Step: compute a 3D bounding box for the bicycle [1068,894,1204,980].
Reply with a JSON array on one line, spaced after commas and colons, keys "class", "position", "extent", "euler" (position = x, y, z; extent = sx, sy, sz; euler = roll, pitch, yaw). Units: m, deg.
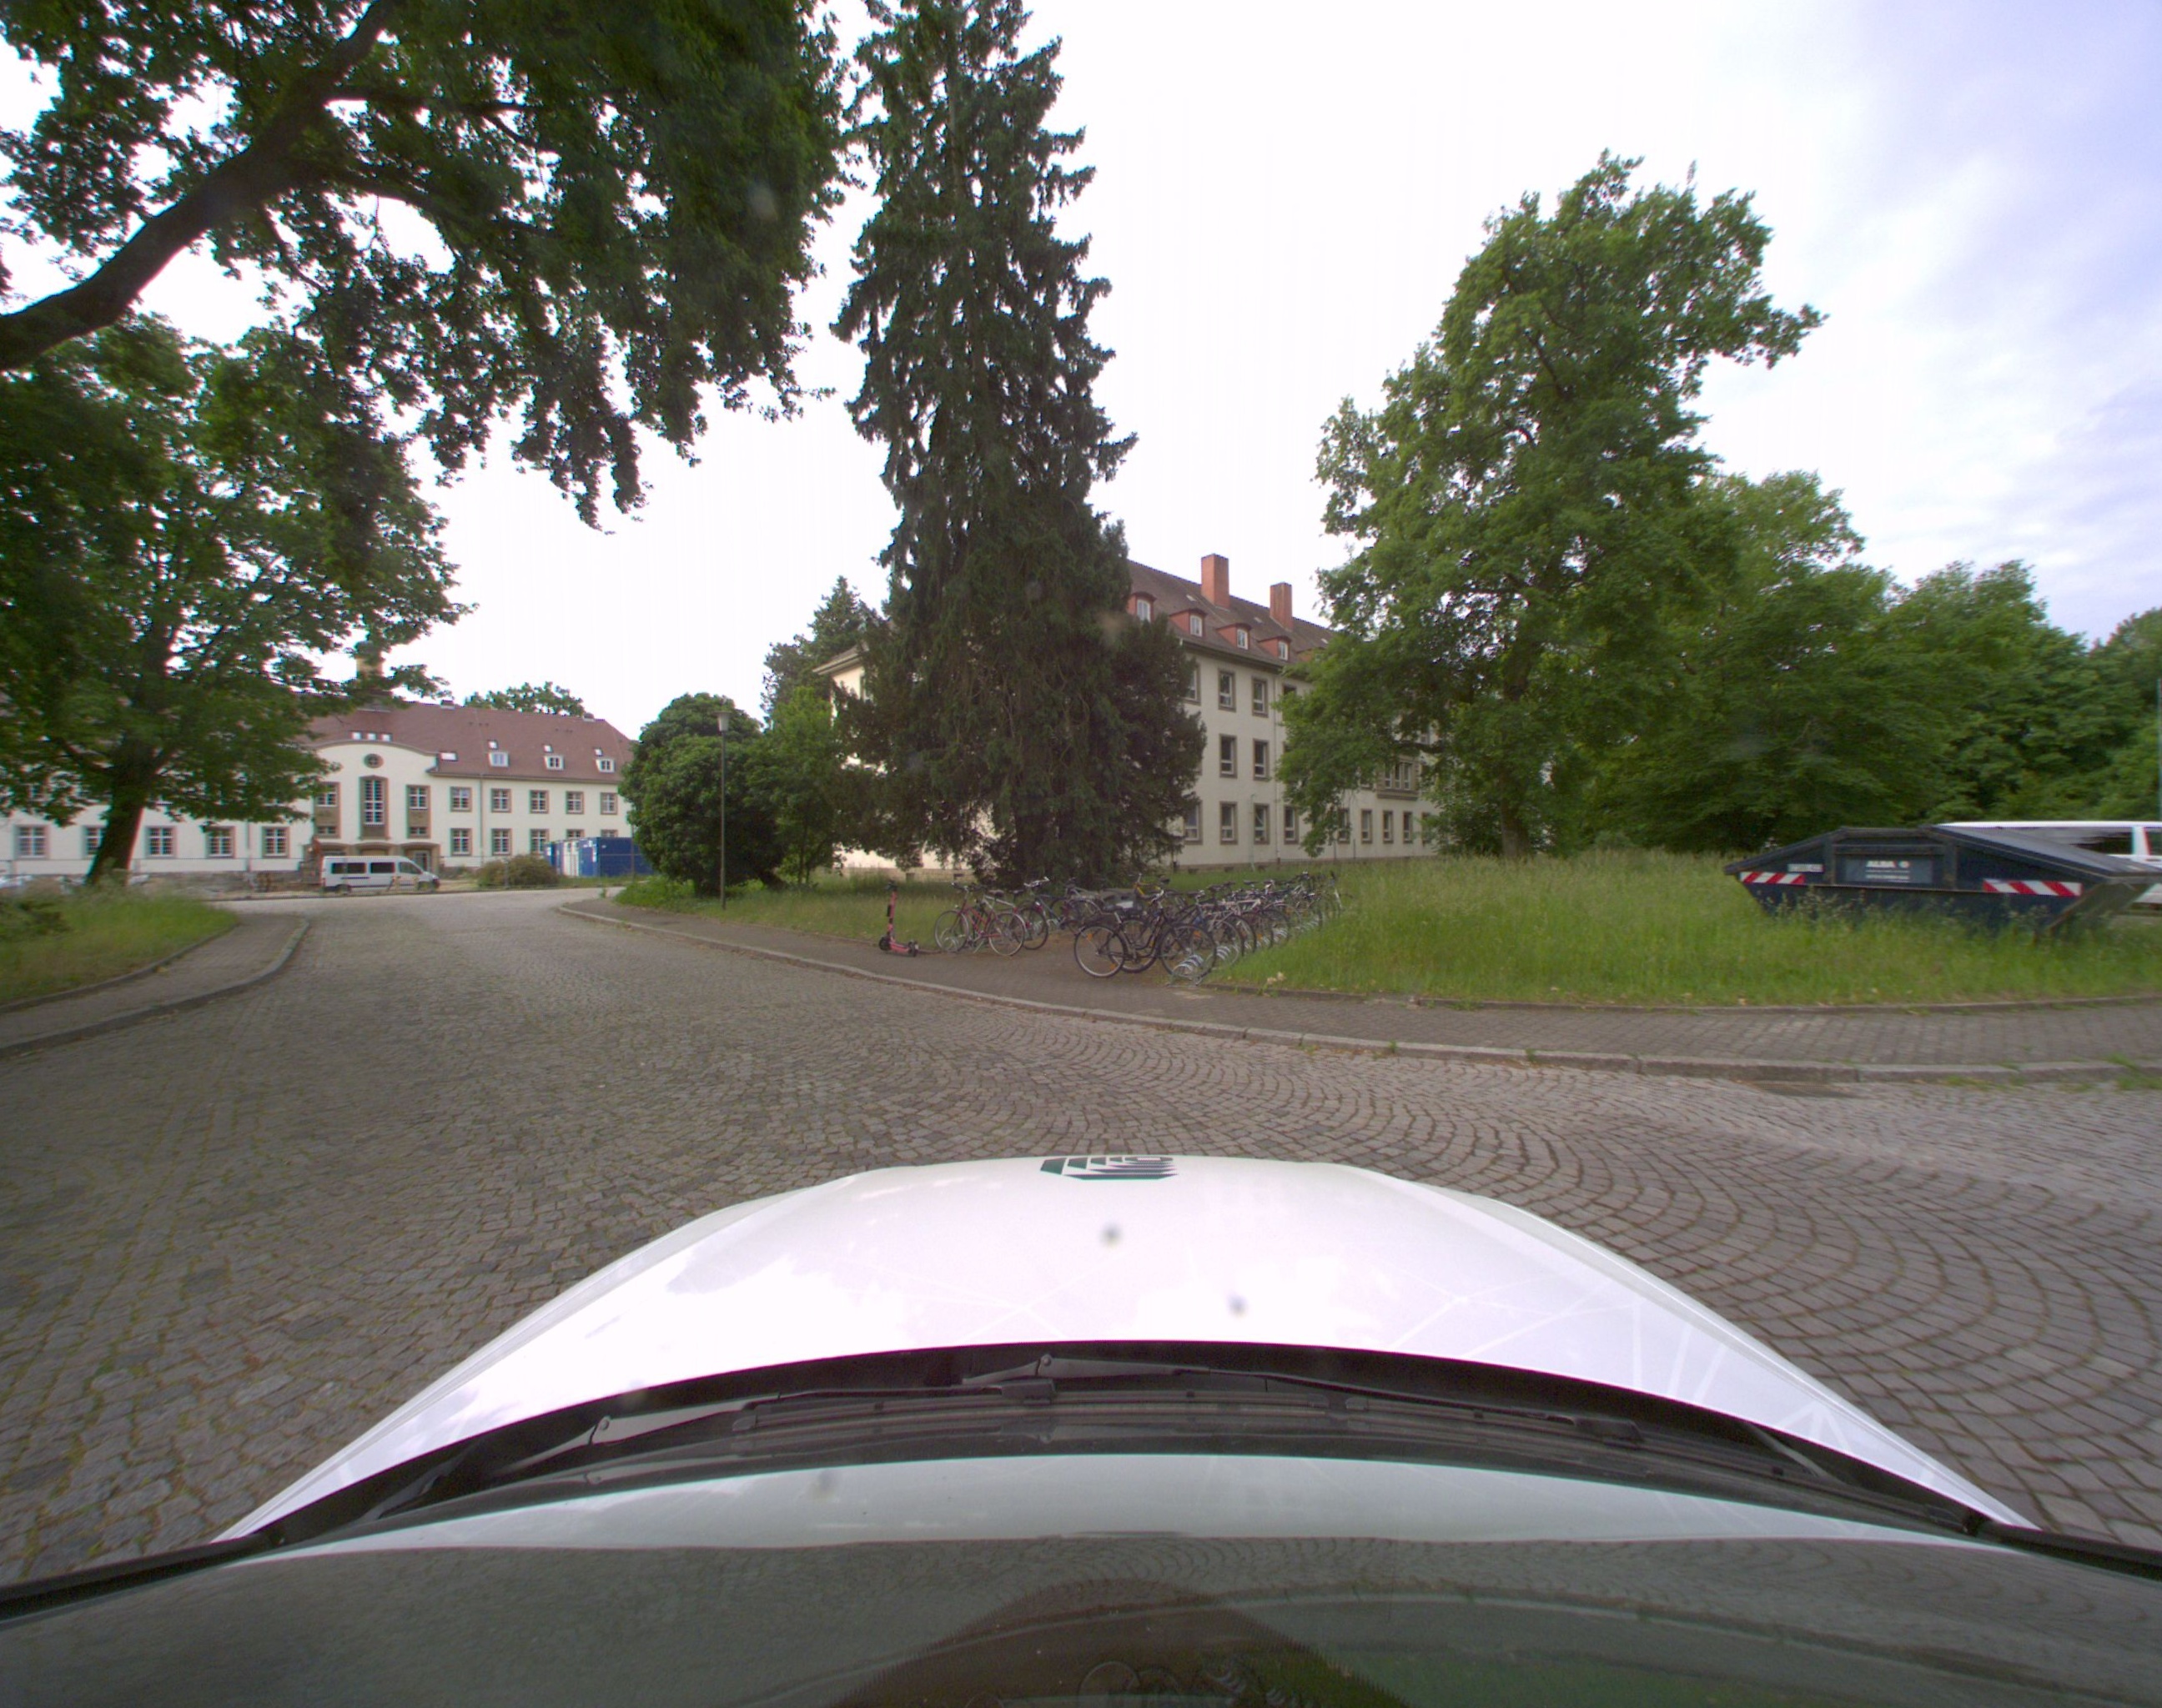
[{"class": "bicycle", "position": [0.688, 1.036, 10.215], "extent": [1.605, 1.008, 0.480], "euler": [-2, -1, 16]}]

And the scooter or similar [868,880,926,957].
[{"class": "scooter or similar", "position": [-3.071, 1.055, 13.557], "extent": [1.123, 1.210, 0.360], "euler": [-1, 0, 43]}]

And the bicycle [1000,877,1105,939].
[{"class": "bicycle", "position": [-0.528, 0.978, 14.996], "extent": [1.804, 1.065, 0.621], "euler": [-1, 0, 21]}]

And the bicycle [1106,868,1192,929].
[{"class": "bicycle", "position": [1.367, 0.881, 16.650], "extent": [1.731, 1.171, 0.555], "euler": [-1, 0, 39]}]

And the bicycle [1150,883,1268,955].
[{"class": "bicycle", "position": [1.894, 0.959, 12.162], "extent": [1.646, 1.008, 0.481], "euler": [-3, -1, 31]}]

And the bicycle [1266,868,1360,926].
[{"class": "bicycle", "position": [4.671, 0.843, 16.433], "extent": [1.742, 1.112, 0.481], "euler": [-1, 0, 31]}]

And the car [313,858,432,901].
[{"class": "car", "position": [-42.298, 1.463, 48.768], "extent": [5.309, 2.344, 1.887], "euler": [-1, 0, -42]}]

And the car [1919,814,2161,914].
[{"class": "car", "position": [21.810, 0.195, 17.516], "extent": [1.979, 1.996, 5.212], "euler": [-1, 0, -43]}]

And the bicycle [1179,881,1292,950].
[{"class": "bicycle", "position": [2.406, 0.954, 12.753], "extent": [1.646, 1.008, 0.481], "euler": [-3, -1, 31]}]

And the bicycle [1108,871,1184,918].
[{"class": "bicycle", "position": [1.474, 0.914, 18.683], "extent": [1.661, 1.042, 0.555], "euler": [-1, 0, 33]}]

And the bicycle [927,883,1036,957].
[{"class": "bicycle", "position": [-1.627, 1.040, 13.239], "extent": [1.747, 1.114, 0.555], "euler": [-1, 0, 29]}]

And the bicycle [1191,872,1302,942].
[{"class": "bicycle", "position": [2.765, 0.863, 13.657], "extent": [1.742, 1.112, 0.481], "euler": [-1, 0, 31]}]

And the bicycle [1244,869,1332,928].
[{"class": "bicycle", "position": [4.084, 0.854, 16.156], "extent": [1.630, 1.112, 0.445], "euler": [-1, 0, 37]}]

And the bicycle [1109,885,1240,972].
[{"class": "bicycle", "position": [1.226, 0.978, 10.684], "extent": [1.605, 1.074, 0.480], "euler": [-2, -1, 16]}]

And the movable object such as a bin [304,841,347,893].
[{"class": "movable object such as a bin", "position": [-56.649, 0.978, 61.031], "extent": [5.250, 3.771, 2.012], "euler": [-1, -1, 43]}]

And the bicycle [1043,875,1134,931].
[{"class": "bicycle", "position": [0.149, 0.969, 16.360], "extent": [1.733, 1.065, 0.554], "euler": [-1, 0, 21]}]

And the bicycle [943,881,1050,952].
[{"class": "bicycle", "position": [-1.432, 1.017, 13.698], "extent": [1.782, 1.114, 0.555], "euler": [-1, 0, 29]}]

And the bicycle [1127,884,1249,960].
[{"class": "bicycle", "position": [1.517, 0.962, 11.661], "extent": [1.646, 1.008, 0.481], "euler": [-3, -1, 31]}]

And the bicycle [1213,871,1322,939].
[{"class": "bicycle", "position": [3.187, 0.860, 13.994], "extent": [1.743, 1.112, 0.480], "euler": [-1, 0, 25]}]

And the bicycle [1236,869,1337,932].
[{"class": "bicycle", "position": [3.814, 0.852, 15.156], "extent": [1.742, 1.112, 0.481], "euler": [-1, 0, 31]}]

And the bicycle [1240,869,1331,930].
[{"class": "bicycle", "position": [3.902, 0.857, 15.625], "extent": [1.630, 1.112, 0.445], "euler": [-1, 0, 37]}]
